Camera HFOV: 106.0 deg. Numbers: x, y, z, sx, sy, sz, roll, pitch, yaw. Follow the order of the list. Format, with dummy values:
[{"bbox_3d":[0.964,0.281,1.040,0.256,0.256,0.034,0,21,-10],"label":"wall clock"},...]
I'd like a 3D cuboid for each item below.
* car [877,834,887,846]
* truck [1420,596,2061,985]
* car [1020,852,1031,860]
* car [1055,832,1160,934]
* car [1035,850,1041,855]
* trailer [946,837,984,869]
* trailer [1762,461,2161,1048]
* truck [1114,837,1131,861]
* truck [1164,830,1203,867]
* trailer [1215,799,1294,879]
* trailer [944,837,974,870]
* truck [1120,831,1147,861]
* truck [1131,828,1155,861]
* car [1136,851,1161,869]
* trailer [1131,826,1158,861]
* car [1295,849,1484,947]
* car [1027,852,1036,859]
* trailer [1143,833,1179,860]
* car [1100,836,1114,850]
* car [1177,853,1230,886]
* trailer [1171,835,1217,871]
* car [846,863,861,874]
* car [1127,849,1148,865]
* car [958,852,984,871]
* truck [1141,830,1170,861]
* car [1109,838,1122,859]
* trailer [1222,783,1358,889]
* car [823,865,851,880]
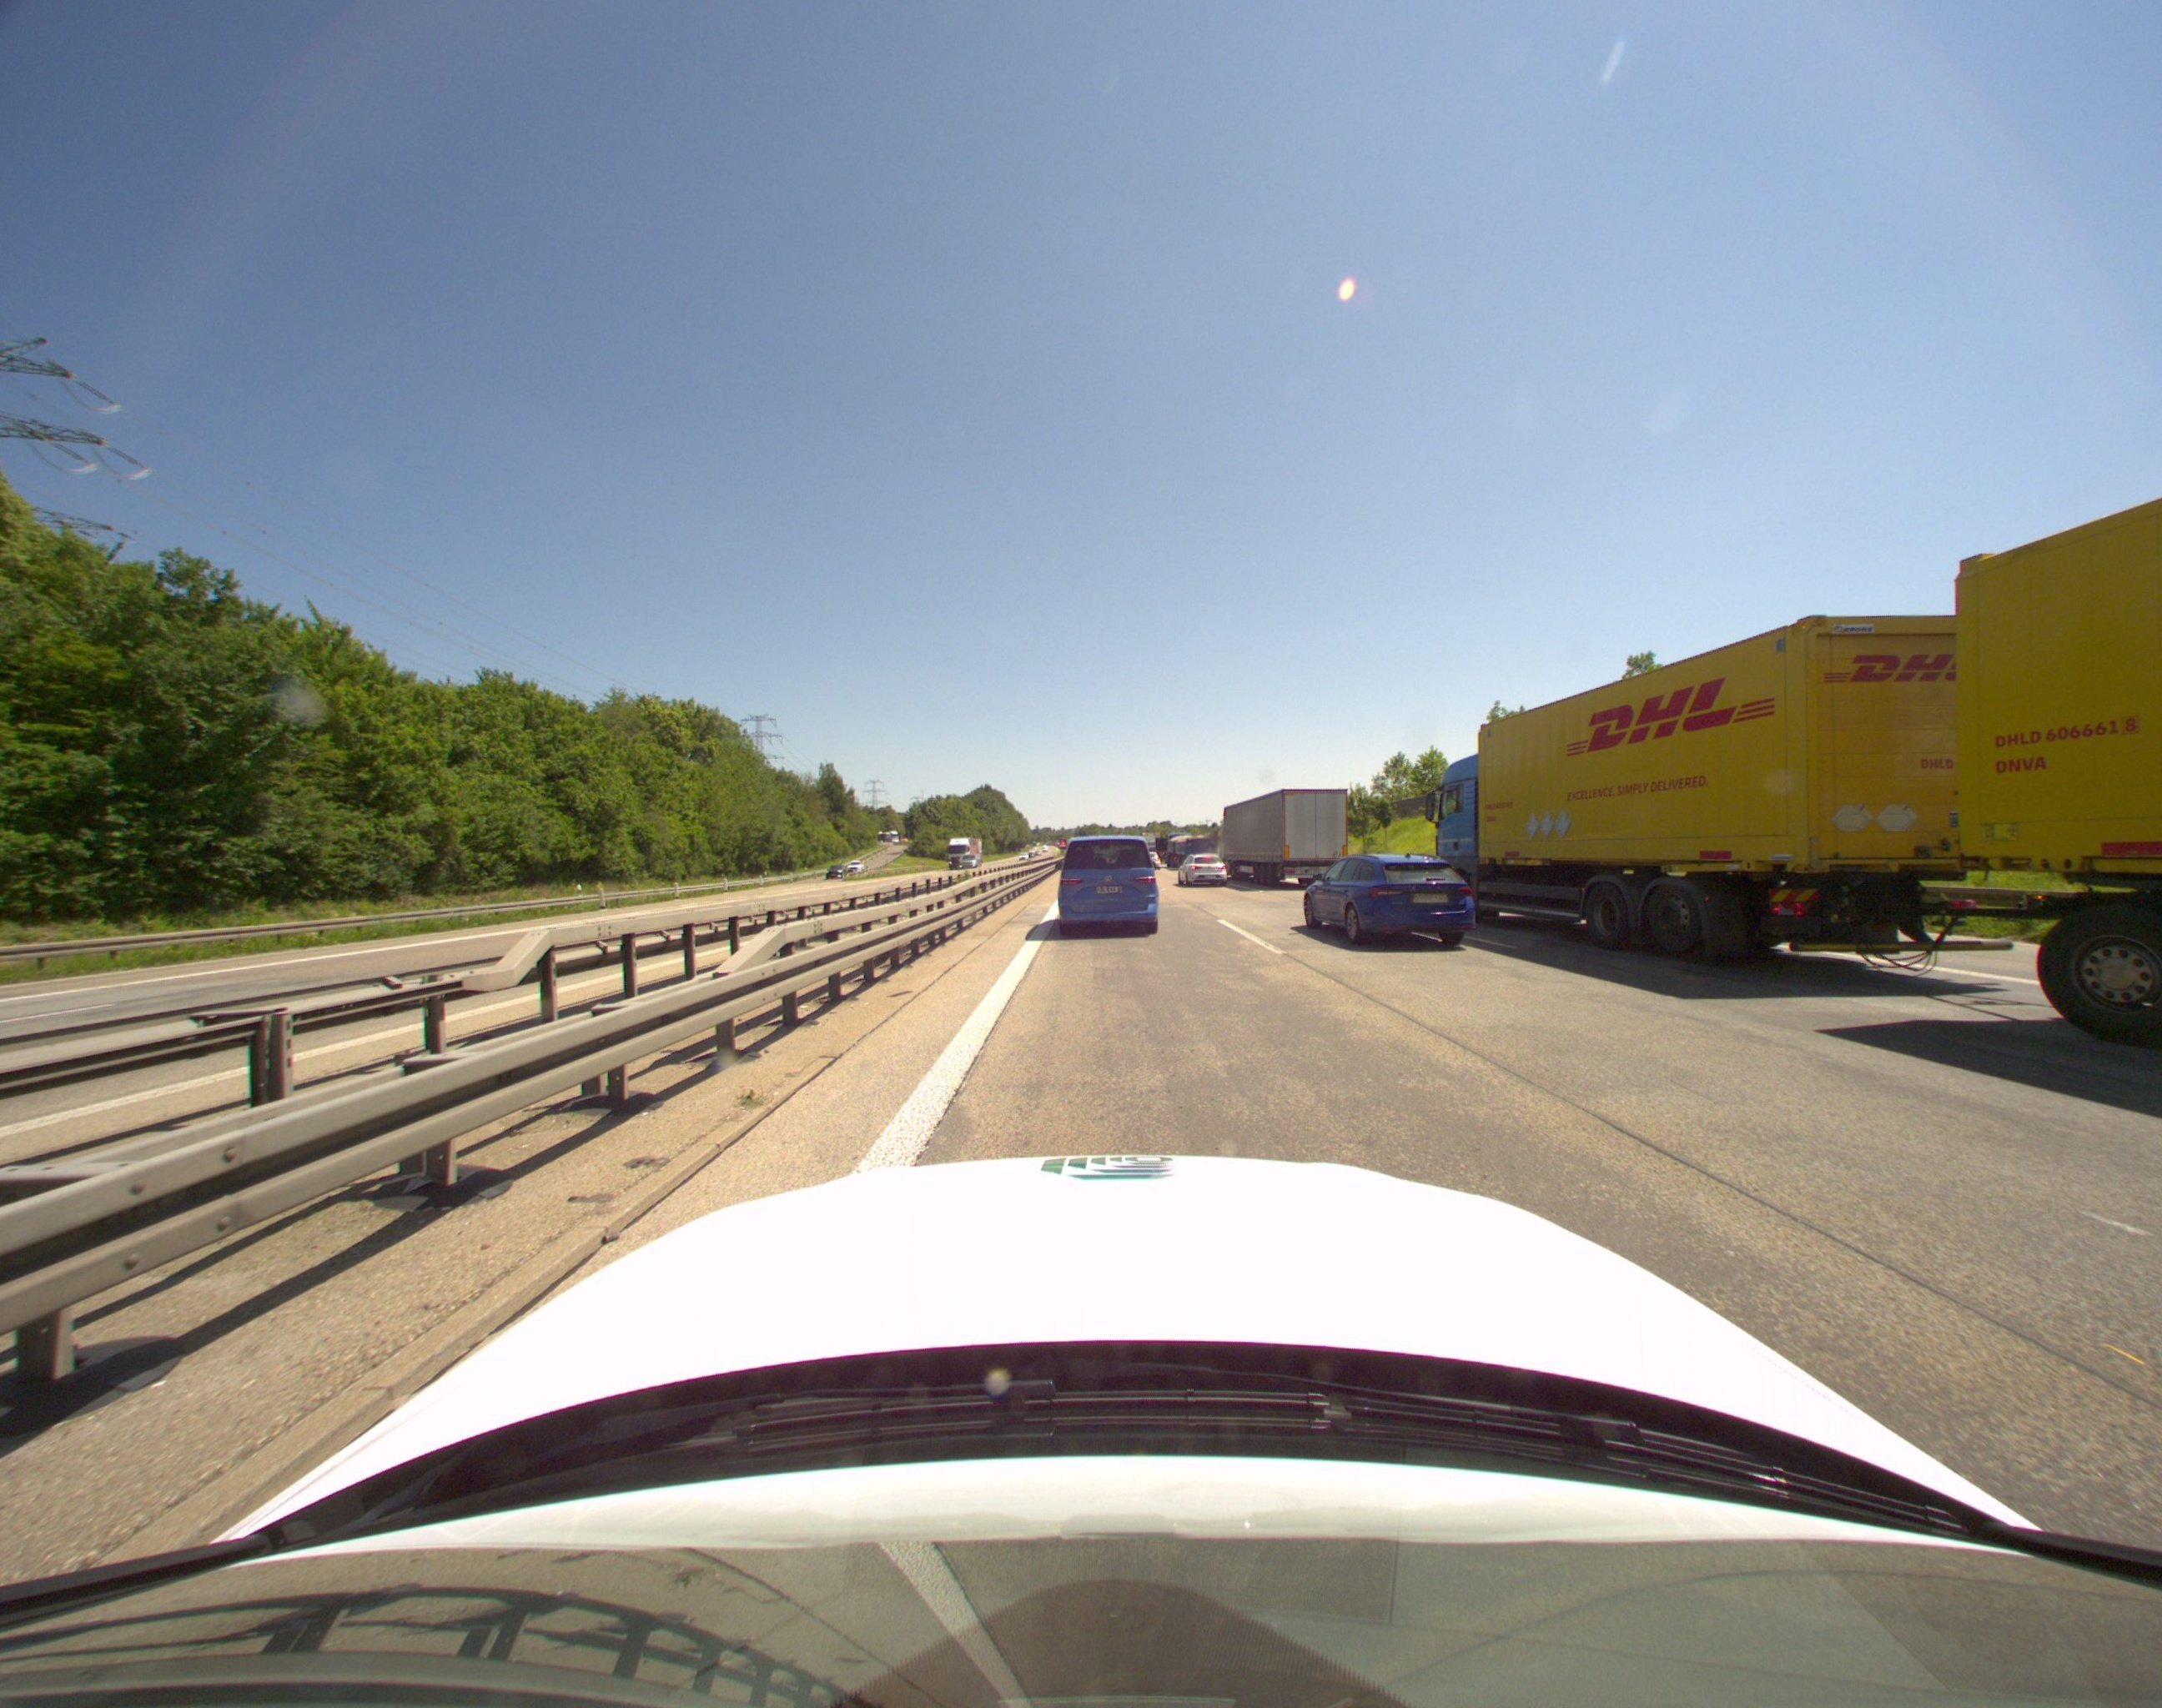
[{"bbox_3d":[-52.324,-3.585,213.801,2.075,2.880,6.690,-2,0,-18],"label":"car"},{"bbox_3d":[9.082,-0.695,13.629,2.756,4.109,9.953,0,0,1],"label":"truck"},{"bbox_3d":[-11.627,0.415,170.643,1.845,1.467,4.302,-2,0,-1],"label":"car"},{"bbox_3d":[0.538,0.543,16.746,1.894,1.838,4.001,0,0,2],"label":"car"},{"bbox_3d":[-12.815,-0.450,244.071,1.768,1.630,3.949,0,0,-1],"label":"car"},{"bbox_3d":[-15.826,-0.182,112.278,2.754,3.976,14.681,-3,1,0],"label":"trailer"},{"bbox_3d":[8.951,-0.697,4.409,2.756,4.117,9.377,0,0,0],"label":"trailer"},{"bbox_3d":[8.926,-1.060,174.297,3.058,4.920,10.688,0,0,0],"label":"truck"},{"bbox_3d":[9.533,-0.531,76.395,2.734,3.311,7.133,0,1,0],"label":"truck"},{"bbox_3d":[9.352,-0.805,44.626,2.915,4.043,6.411,-1,0,0],"label":"trailer"},{"bbox_3d":[-15.866,-0.078,106.372,2.748,3.976,6.131,-3,1,0],"label":"trailer"},{"bbox_3d":[9.594,-1.303,150.158,3.611,5.212,15.680,0,0,-1],"label":"truck"},{"bbox_3d":[10.087,-1.519,133.256,3.644,5.179,5.711,0,-1,2],"label":"truck"},{"bbox_3d":[5.701,0.515,69.349,1.834,1.454,4.000,0,0,0],"label":"car"},{"bbox_3d":[9.819,-1.503,127.190,3.632,5.136,13.082,0,0,2],"label":"trailer"},{"bbox_3d":[5.175,0.671,14.335,1.700,1.441,4.428,0,0,1],"label":"car"},{"bbox_3d":[-12.412,0.393,203.765,1.870,1.446,4.143,-3,0,-1],"label":"car"},{"bbox_3d":[9.874,-0.802,102.910,3.632,3.079,15.780,0,0,2],"label":"trailer"},{"bbox_3d":[5.262,-2.225,165.320,2.542,2.717,5.621,0,0,0],"label":"car"},{"bbox_3d":[5.424,0.662,36.436,1.861,1.361,4.002,0,0,2],"label":"car"},{"bbox_3d":[9.462,-0.143,69.144,2.734,2.836,9.116,0,1,0],"label":"trailer"},{"bbox_3d":[-30.101,1.913,107.482,1.690,1.456,4.318,0,0,-19],"label":"car"},{"bbox_3d":[5.550,0.291,79.691,1.775,1.524,3.999,0,0,0],"label":"car"},{"bbox_3d":[-11.636,0.824,86.381,1.986,1.941,4.897,0,0,1],"label":"car"},{"bbox_3d":[10.143,-1.122,111.383,3.611,4.094,7.529,0,0,3],"label":"truck"},{"bbox_3d":[8.752,-1.361,207.961,3.207,5.257,8.144,0,0,0],"label":"car"},{"bbox_3d":[9.334,-0.740,38.521,2.952,4.049,13.752,-1,0,0],"label":"trailer"},{"bbox_3d":[-26.748,1.989,89.316,1.991,1.576,5.262,0,0,-7],"label":"car"}]
